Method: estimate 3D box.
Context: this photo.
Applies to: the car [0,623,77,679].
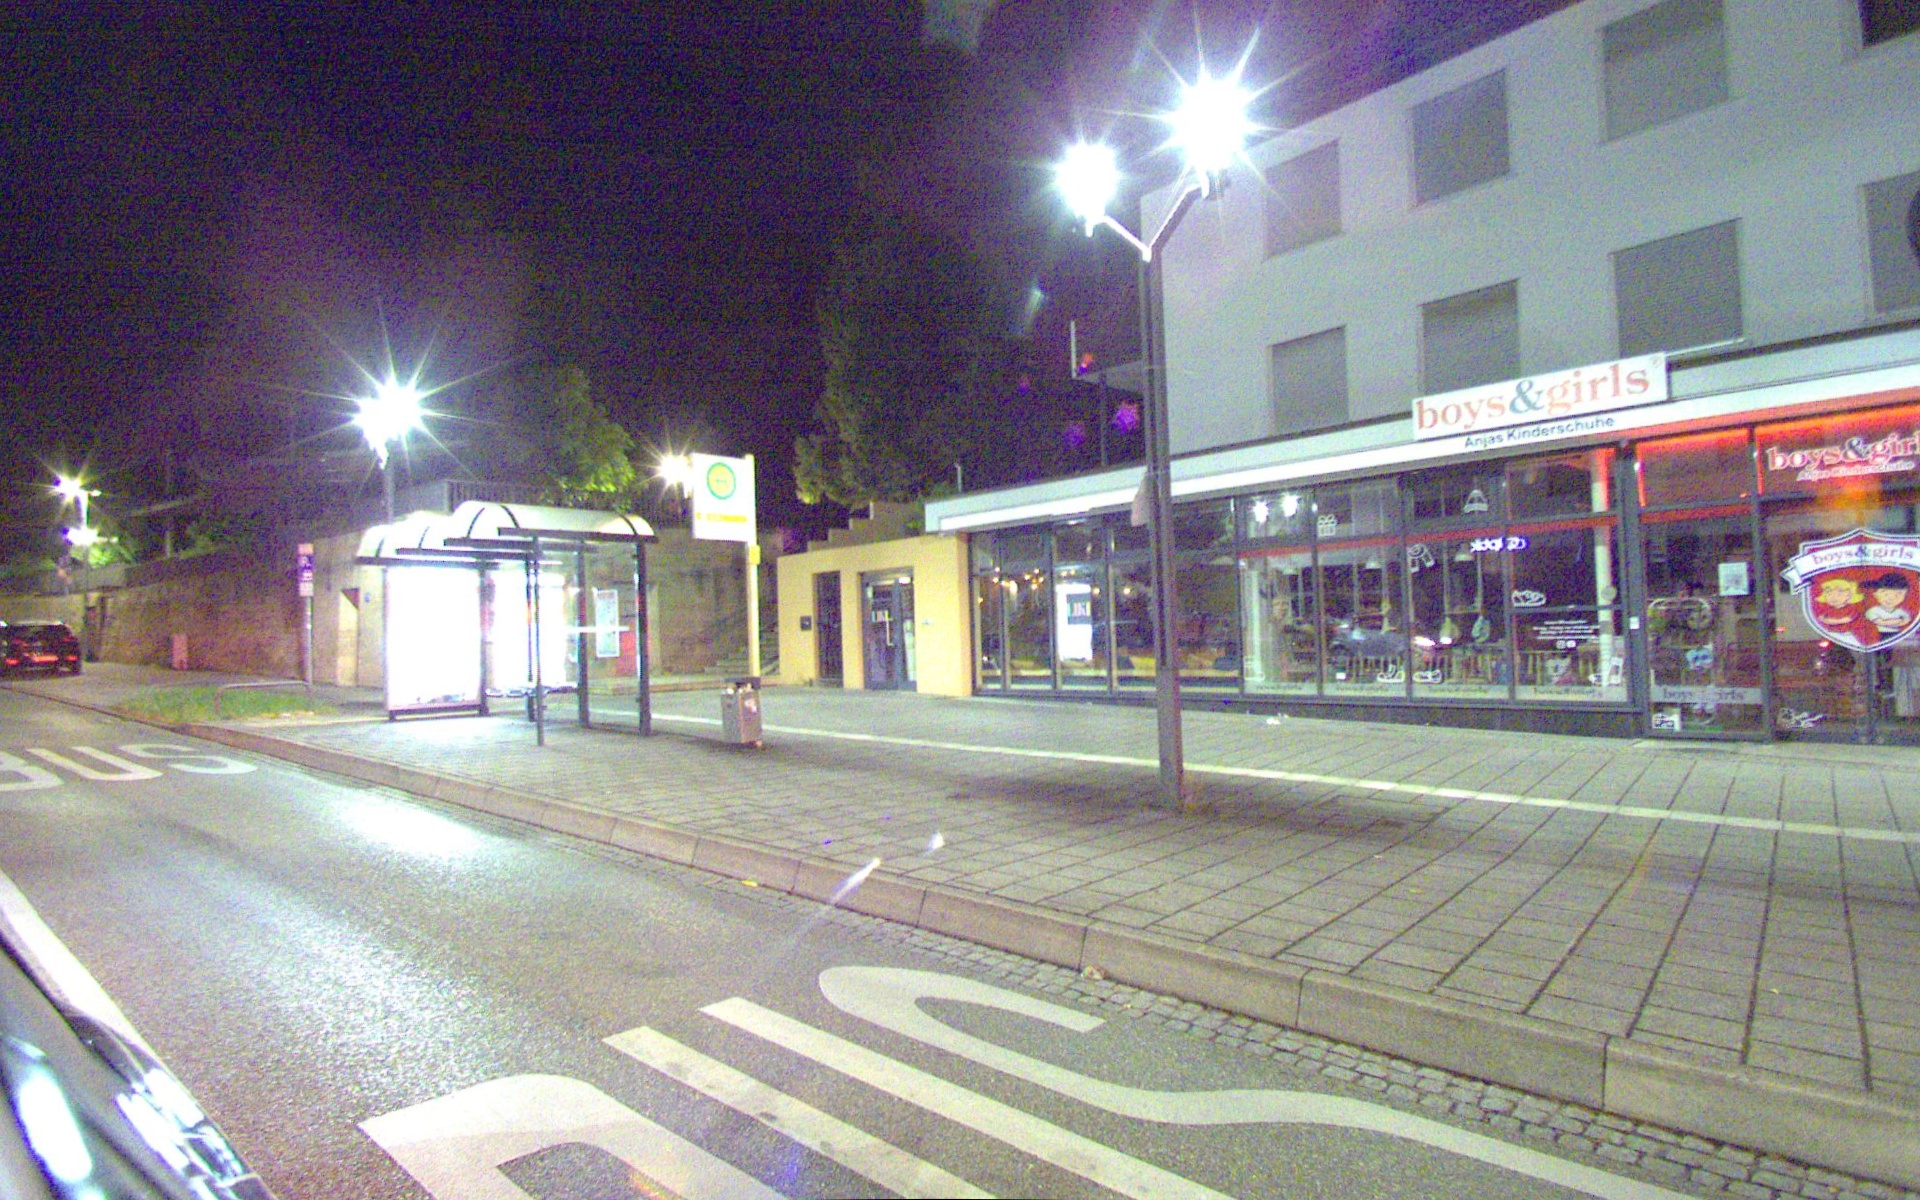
[{"bbox_3d":[-26.621,1.398,28.695,4.123,1.447,1.675,-1,0,39],"label":"car"}]
